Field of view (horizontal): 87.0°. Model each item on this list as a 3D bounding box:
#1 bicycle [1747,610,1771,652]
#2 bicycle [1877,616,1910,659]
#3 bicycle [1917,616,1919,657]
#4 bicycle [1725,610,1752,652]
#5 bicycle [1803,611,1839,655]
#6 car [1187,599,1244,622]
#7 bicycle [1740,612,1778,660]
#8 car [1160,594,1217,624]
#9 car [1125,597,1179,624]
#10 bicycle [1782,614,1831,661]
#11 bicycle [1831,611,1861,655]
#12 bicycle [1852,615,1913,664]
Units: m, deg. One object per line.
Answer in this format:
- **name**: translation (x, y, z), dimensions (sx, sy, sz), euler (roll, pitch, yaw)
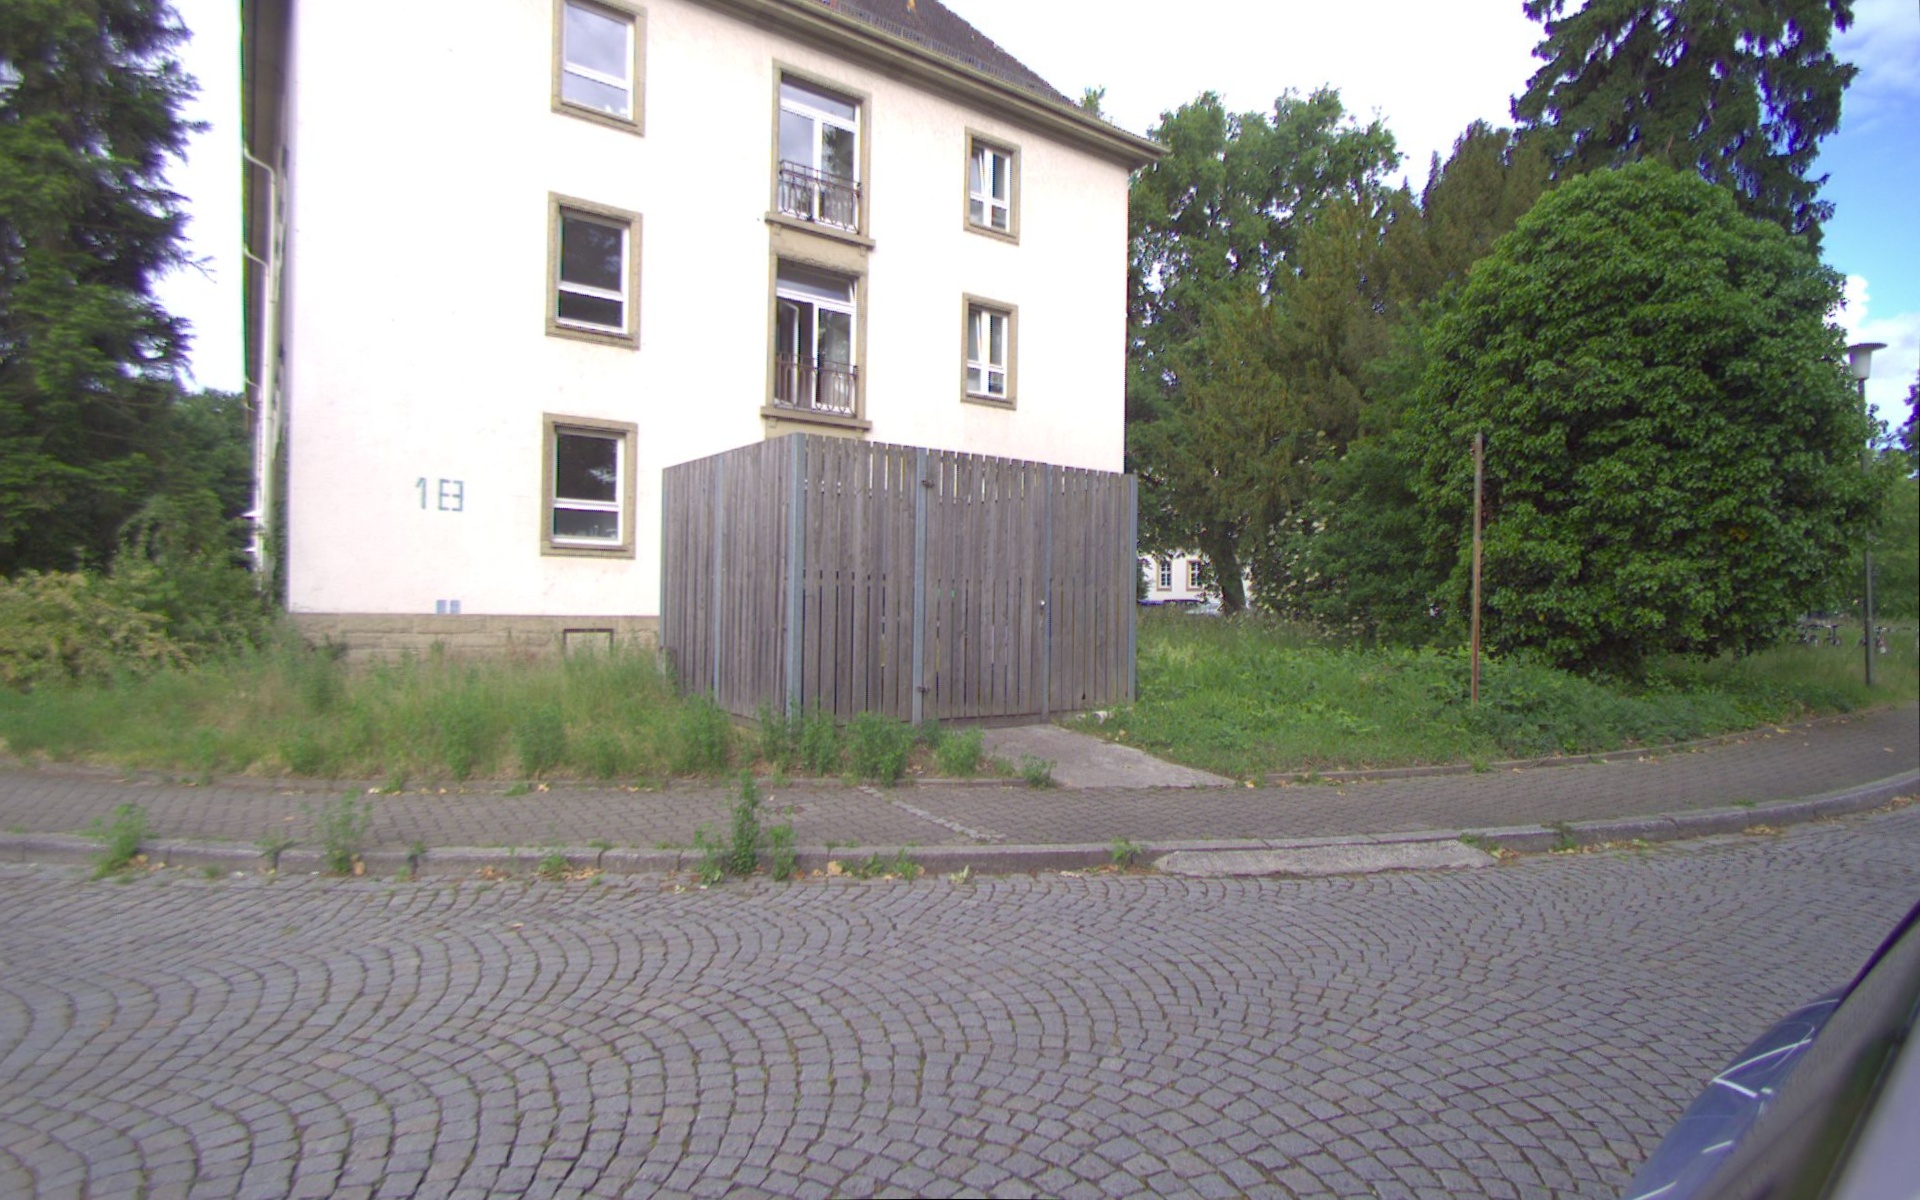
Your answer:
- **bicycle**: translation (22.136, 0.850, 28.051), dimensions (0.475, 1.126, 1.741), euler (0, 0, 37)
- **bicycle**: translation (24.338, 0.958, 26.402), dimensions (0.475, 1.020, 1.645), euler (0, 1, 37)
- **bicycle**: translation (24.853, 0.961, 25.821), dimensions (0.475, 1.020, 1.645), euler (0, 1, 37)
- **bicycle**: translation (21.723, 0.852, 28.239), dimensions (0.440, 1.126, 1.626), euler (0, 0, 43)
- **bicycle**: translation (23.192, 0.861, 27.287), dimensions (0.474, 1.126, 1.745), euler (0, 0, 32)
- **car**: translation (14.054, 0.583, 55.620), dimensions (3.188, 1.233, 1.297), euler (1, 0, -36)
- **bicycle**: translation (20.410, 0.895, 25.834), dimensions (1.725, 1.186, 0.550), euler (1, 0, -44)
- **car**: translation (13.007, 0.513, 57.669), dimensions (3.188, 1.682, 1.439), euler (1, 0, -36)
- **car**: translation (11.538, 0.628, 60.619), dimensions (3.188, 1.585, 1.384), euler (1, 0, -36)
- **bicycle**: translation (20.543, 0.898, 24.584), dimensions (0.546, 1.078, 1.737), euler (0, 0, 28)
- **bicycle**: translation (23.469, 0.861, 26.826), dimensions (0.475, 1.126, 1.741), euler (0, 0, 37)
- **bicycle**: translation (21.676, 0.911, 23.809), dimensions (0.612, 1.078, 1.807), euler (0, 0, 28)
